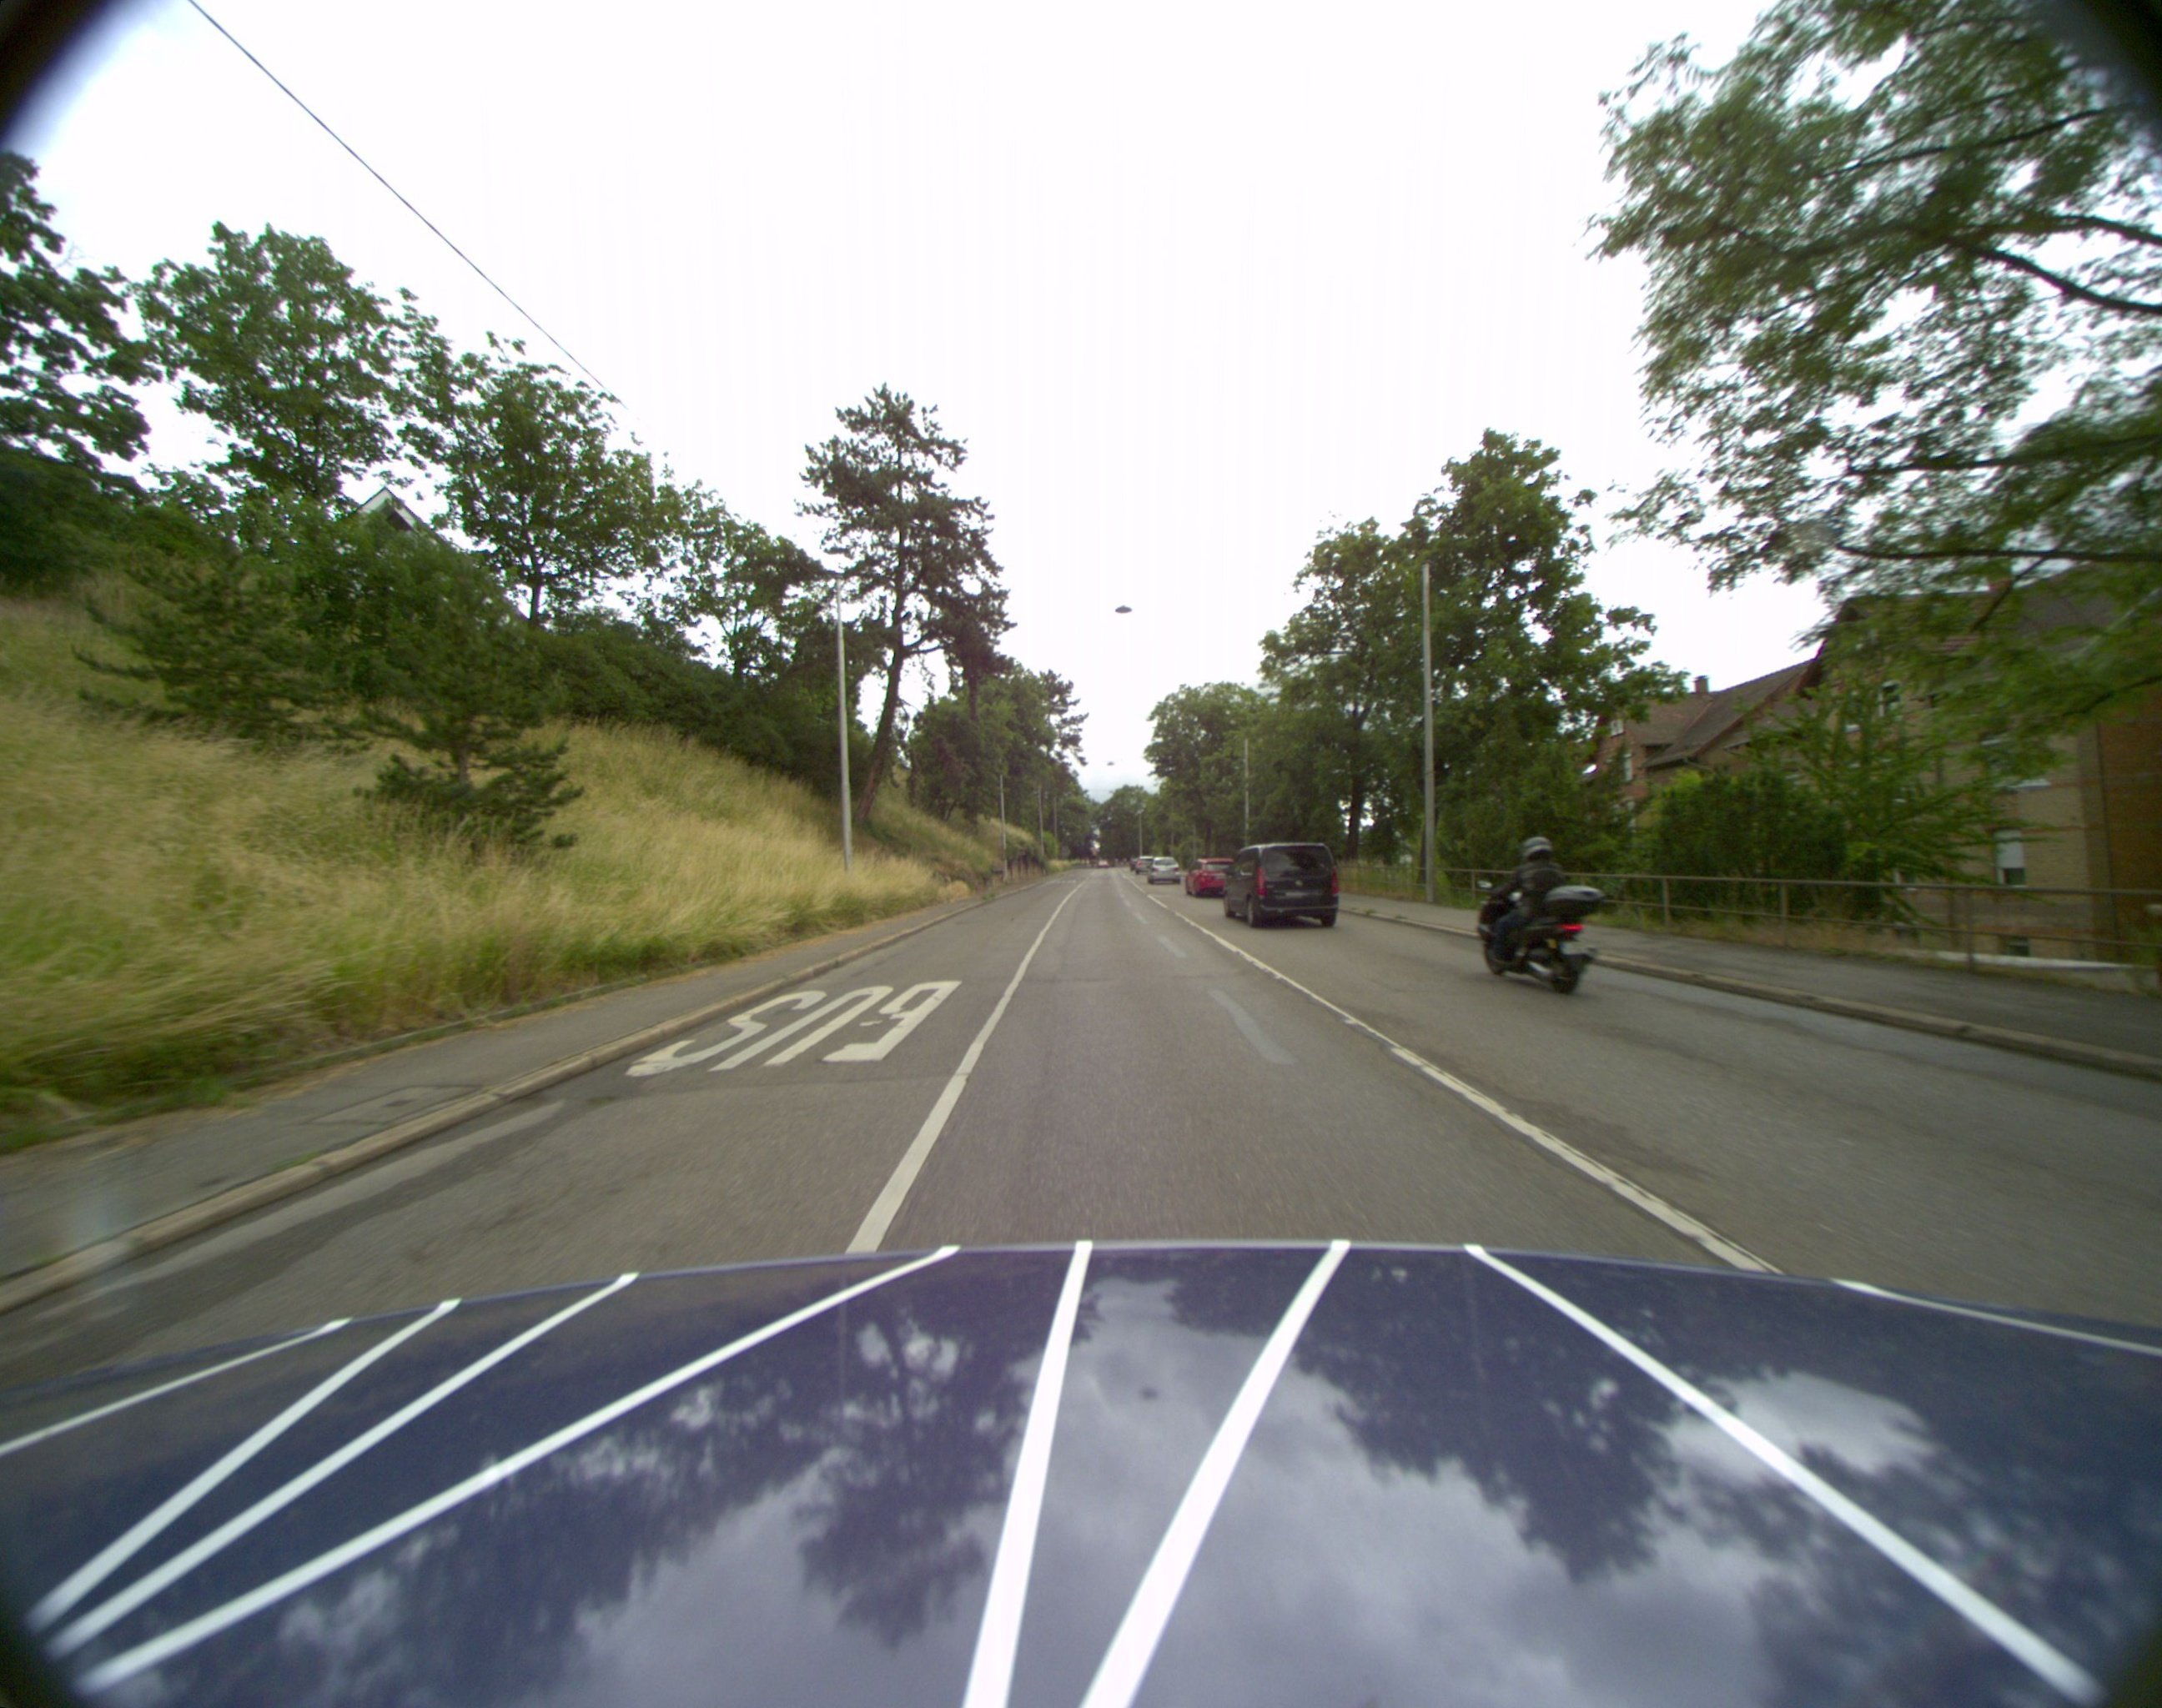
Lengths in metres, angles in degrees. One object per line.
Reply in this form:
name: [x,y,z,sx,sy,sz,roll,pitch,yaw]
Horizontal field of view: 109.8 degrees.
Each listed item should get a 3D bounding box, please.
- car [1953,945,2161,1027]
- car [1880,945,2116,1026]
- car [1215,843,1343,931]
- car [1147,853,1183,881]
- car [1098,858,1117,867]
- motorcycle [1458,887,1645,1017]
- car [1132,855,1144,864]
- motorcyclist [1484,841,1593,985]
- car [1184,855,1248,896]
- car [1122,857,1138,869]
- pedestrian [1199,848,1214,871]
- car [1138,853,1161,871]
car: [26.077,3.376,20.070,1.797,1.501,4.003,-1,-1,8]
car: [24.194,3.419,20.322,1.797,1.501,4.003,-1,-1,8]
car: [4.395,0.662,17.565,1.788,1.736,4.428,-1,0,0]
car: [5.062,0.754,46.222,1.788,1.565,4.281,-1,0,1]
car: [4.568,1.428,130.486,1.791,1.565,4.273,-1,0,-21]
motorcycle: [4.991,0.982,8.264,0.787,1.139,2.057,-1,0,1]
car: [9.199,0.829,122.553,1.673,1.439,3.689,-1,0,2]
motorcyclist: [4.986,0.624,8.318,0.787,1.507,0.668,-1,1,1]
car: [5.196,0.777,29.700,1.788,1.451,4.429,-1,0,1]
car: [5.926,1.095,92.361,1.717,1.419,4.139,-1,0,1]
pedestrian: [9.679,0.422,58.618,0.790,1.764,1.209,-5,0,-1]
car: [6.735,0.746,75.352,2.000,1.673,4.664,-1,0,2]
